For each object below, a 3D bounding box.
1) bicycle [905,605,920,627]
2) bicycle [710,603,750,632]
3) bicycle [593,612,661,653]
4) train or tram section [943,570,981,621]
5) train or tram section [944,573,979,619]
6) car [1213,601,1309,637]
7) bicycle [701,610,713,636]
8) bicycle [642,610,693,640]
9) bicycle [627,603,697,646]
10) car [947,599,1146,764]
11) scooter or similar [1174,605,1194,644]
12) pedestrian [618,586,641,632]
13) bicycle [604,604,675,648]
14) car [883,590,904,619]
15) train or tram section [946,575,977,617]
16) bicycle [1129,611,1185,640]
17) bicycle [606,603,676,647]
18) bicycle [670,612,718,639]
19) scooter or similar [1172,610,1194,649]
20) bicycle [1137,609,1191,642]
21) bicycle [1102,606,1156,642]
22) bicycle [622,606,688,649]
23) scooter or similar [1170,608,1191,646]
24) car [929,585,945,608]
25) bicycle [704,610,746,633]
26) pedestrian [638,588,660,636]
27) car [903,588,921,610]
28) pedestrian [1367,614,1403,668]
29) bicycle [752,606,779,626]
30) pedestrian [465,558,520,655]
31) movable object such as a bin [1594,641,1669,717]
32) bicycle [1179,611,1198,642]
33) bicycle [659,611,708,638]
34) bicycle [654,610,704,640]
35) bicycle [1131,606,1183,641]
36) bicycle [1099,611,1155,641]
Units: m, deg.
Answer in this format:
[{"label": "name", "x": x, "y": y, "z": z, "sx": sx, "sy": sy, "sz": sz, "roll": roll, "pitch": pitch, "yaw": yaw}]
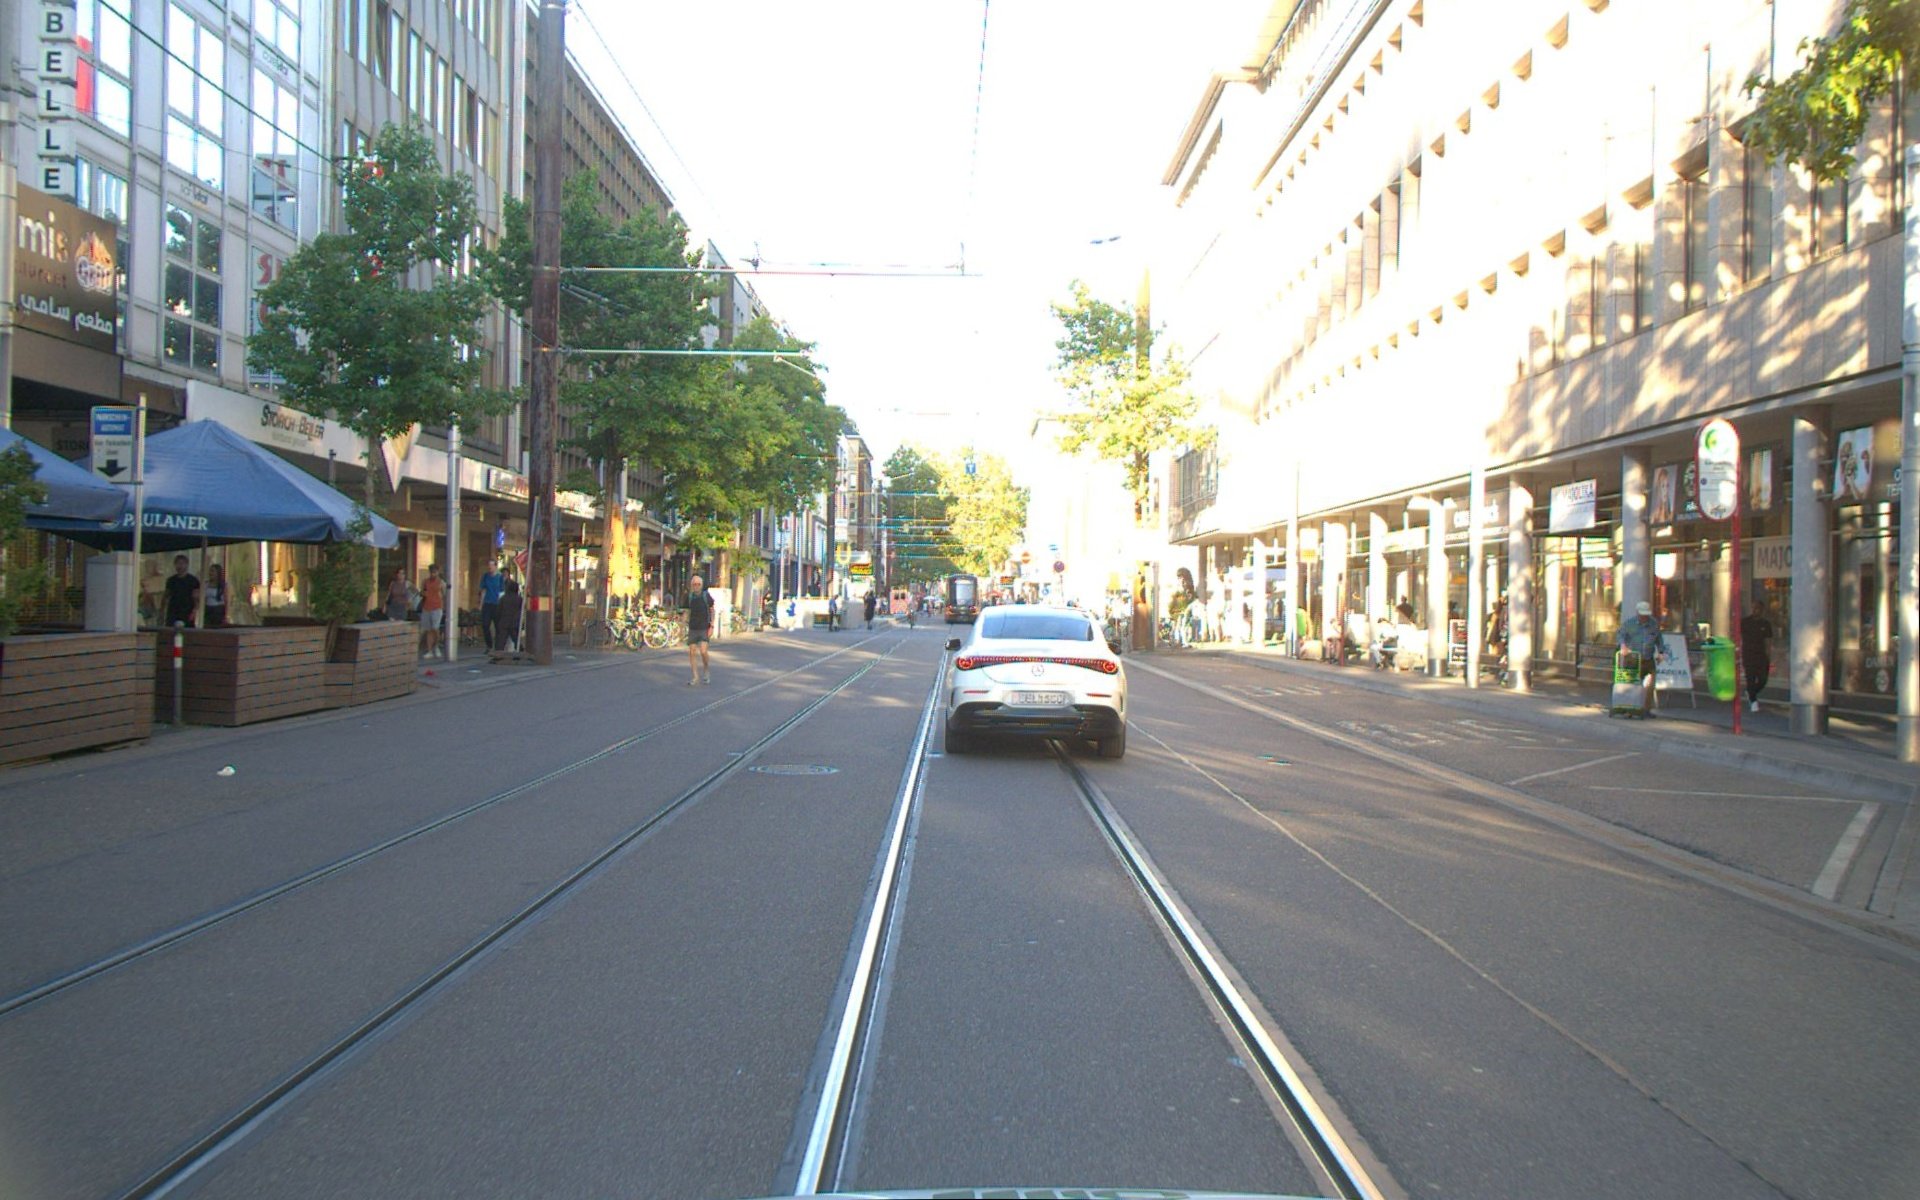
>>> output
[{"label": "bicycle", "x": -2.580, "y": 0.887, "z": 90.460, "sx": 0.784, "sy": 1.162, "sz": 2.256, "roll": 2, "pitch": 0, "yaw": -1}, {"label": "bicycle", "x": -8.760, "y": 0.667, "z": 63.071, "sx": 1.465, "sy": 1.047, "sz": 0.344, "roll": 2, "pitch": 0, "yaw": -10}, {"label": "bicycle", "x": -8.217, "y": 0.800, "z": 40.806, "sx": 1.562, "sy": 0.947, "sz": 0.377, "roll": 2, "pitch": 0, "yaw": 6}, {"label": "train or tram section", "x": 0.112, "y": -0.304, "z": 121.981, "sx": 2.639, "sy": 3.578, "sz": 12.544, "roll": 1, "pitch": 0, "yaw": 0}, {"label": "train or tram section", "x": 0.117, "y": -0.315, "z": 134.533, "sx": 2.639, "sy": 3.578, "sz": 12.544, "roll": 1, "pitch": 0, "yaw": 0}, {"label": "car", "x": 12.852, "y": 0.797, "z": 70.650, "sx": 3.727, "sy": 1.499, "sz": 1.647, "roll": 1, "pitch": 0, "yaw": -5}, {"label": "bicycle", "x": -8.278, "y": 0.747, "z": 54.063, "sx": 0.337, "sy": 0.797, "sz": 1.403, "roll": 2, "pitch": 0, "yaw": -8}, {"label": "bicycle", "x": -8.922, "y": 0.761, "z": 50.469, "sx": 1.462, "sy": 0.855, "sz": 0.344, "roll": 2, "pitch": 0, "yaw": 1}, {"label": "bicycle", "x": -8.140, "y": 0.676, "z": 45.185, "sx": 1.810, "sy": 1.096, "sz": 0.377, "roll": 2, "pitch": 0, "yaw": -4}, {"label": "car", "x": 0.802, "y": 0.759, "z": 17.514, "sx": 1.819, "sy": 1.481, "sz": 4.175, "roll": 2, "pitch": 0, "yaw": 0}, {"label": "scooter or similar", "x": 7.567, "y": 0.830, "z": 55.851, "sx": 0.482, "sy": 1.299, "sz": 0.658, "roll": -1, "pitch": 0, "yaw": -11}, {"label": "pedestrian", "x": -11.573, "y": 0.318, "z": 57.884, "sx": 0.700, "sy": 1.574, "sz": 0.684, "roll": 1, "pitch": 0, "yaw": -6}, {"label": "bicycle", "x": -8.430, "y": 0.683, "z": 43.502, "sx": 1.754, "sy": 1.096, "sz": 0.377, "roll": 2, "pitch": 0, "yaw": -4}, {"label": "car", "x": -6.881, "y": 0.503, "z": 172.277, "sx": 1.952, "sy": 2.948, "sz": 5.275, "roll": 1, "pitch": 0, "yaw": 0}, {"label": "train or tram section", "x": 0.115, "y": -0.321, "z": 146.374, "sx": 2.639, "sy": 3.578, "sz": 11.142, "roll": 1, "pitch": 0, "yaw": 0}, {"label": "bicycle", "x": 7.596, "y": 0.986, "z": 63.772, "sx": 2.077, "sy": 1.115, "sz": 0.608, "roll": 0, "pitch": 0, "yaw": -13}, {"label": "bicycle", "x": -8.483, "y": 0.658, "z": 43.976, "sx": 1.754, "sy": 1.096, "sz": 0.377, "roll": 2, "pitch": 0, "yaw": -4}, {"label": "bicycle", "x": -8.517, "y": 0.804, "z": 52.950, "sx": 1.462, "sy": 0.797, "sz": 0.345, "roll": 2, "pitch": 0, "yaw": 1}, {"label": "scooter or similar", "x": 7.617, "y": 1.003, "z": 56.496, "sx": 0.518, "sy": 1.299, "sz": 0.658, "roll": -1, "pitch": 0, "yaw": -11}, {"label": "bicycle", "x": 7.486, "y": 0.933, "z": 60.649, "sx": 1.874, "sy": 1.177, "sz": 0.608, "roll": -1, "pitch": 0, "yaw": -12}, {"label": "bicycle", "x": 6.273, "y": 0.883, "z": 61.451, "sx": 1.874, "sy": 1.304, "sz": 0.608, "roll": -1, "pitch": 0, "yaw": -12}, {"label": "bicycle", "x": -8.811, "y": 0.792, "z": 47.770, "sx": 1.808, "sy": 1.160, "sz": 0.377, "roll": 2, "pitch": 0, "yaw": 1}, {"label": "scooter or similar", "x": 7.597, "y": 0.917, "z": 57.108, "sx": 0.518, "sy": 1.299, "sz": 0.658, "roll": -1, "pitch": 0, "yaw": -11}, {"label": "car", "x": -3.138, "y": -0.462, "z": 223.258, "sx": 2.056, "sy": 2.948, "sz": 5.275, "roll": 1, "pitch": 0, "yaw": 0}, {"label": "bicycle", "x": -8.767, "y": 0.801, "z": 61.673, "sx": 1.462, "sy": 0.797, "sz": 0.345, "roll": 2, "pitch": 0, "yaw": 1}, {"label": "pedestrian", "x": -10.889, "y": 0.405, "z": 57.944, "sx": 0.700, "sy": 1.668, "sz": 0.684, "roll": 1, "pitch": 0, "yaw": -6}, {"label": "car", "x": -5.488, "y": -0.074, "z": 191.202, "sx": 1.870, "sy": 2.504, "sz": 5.275, "roll": 1, "pitch": 0, "yaw": 0}, {"label": "pedestrian", "x": 9.853, "y": 0.938, "z": 38.361, "sx": 0.652, "sy": 1.219, "sz": 0.785, "roll": 1, "pitch": 0, "yaw": 5}, {"label": "bicycle", "x": -9.883, "y": 0.810, "z": 84.260, "sx": 0.703, "sy": 1.027, "sz": 2.041, "roll": 1, "pitch": 0, "yaw": 13}, {"label": "pedestrian", "x": -9.789, "y": 0.138, "z": 34.691, "sx": 0.785, "sy": 1.957, "sz": 1.070, "roll": 3, "pitch": 0, "yaw": -3}, {"label": "movable object such as a bin", "x": 8.876, "y": 1.030, "z": 21.876, "sx": 0.676, "sy": 0.940, "sz": 0.718, "roll": 2, "pitch": 0, "yaw": 0}, {"label": "bicycle", "x": 8.802, "y": 1.002, "z": 63.749, "sx": 0.553, "sy": 1.147, "sz": 1.930, "roll": -1, "pitch": 0, "yaw": 3}, {"label": "bicycle", "x": -8.738, "y": 0.775, "z": 52.217, "sx": 1.462, "sy": 0.797, "sz": 0.345, "roll": 2, "pitch": 0, "yaw": 1}, {"label": "bicycle", "x": -8.743, "y": 0.783, "z": 51.497, "sx": 1.462, "sy": 0.855, "sz": 0.344, "roll": 2, "pitch": 0, "yaw": 1}, {"label": "bicycle", "x": 7.426, "y": 0.877, "z": 62.360, "sx": 1.874, "sy": 1.304, "sz": 0.608, "roll": -1, "pitch": 0, "yaw": -12}, {"label": "bicycle", "x": 6.506, "y": 0.999, "z": 64.436, "sx": 2.076, "sy": 1.115, "sz": 0.608, "roll": 1, "pitch": -1, "yaw": -12}]
